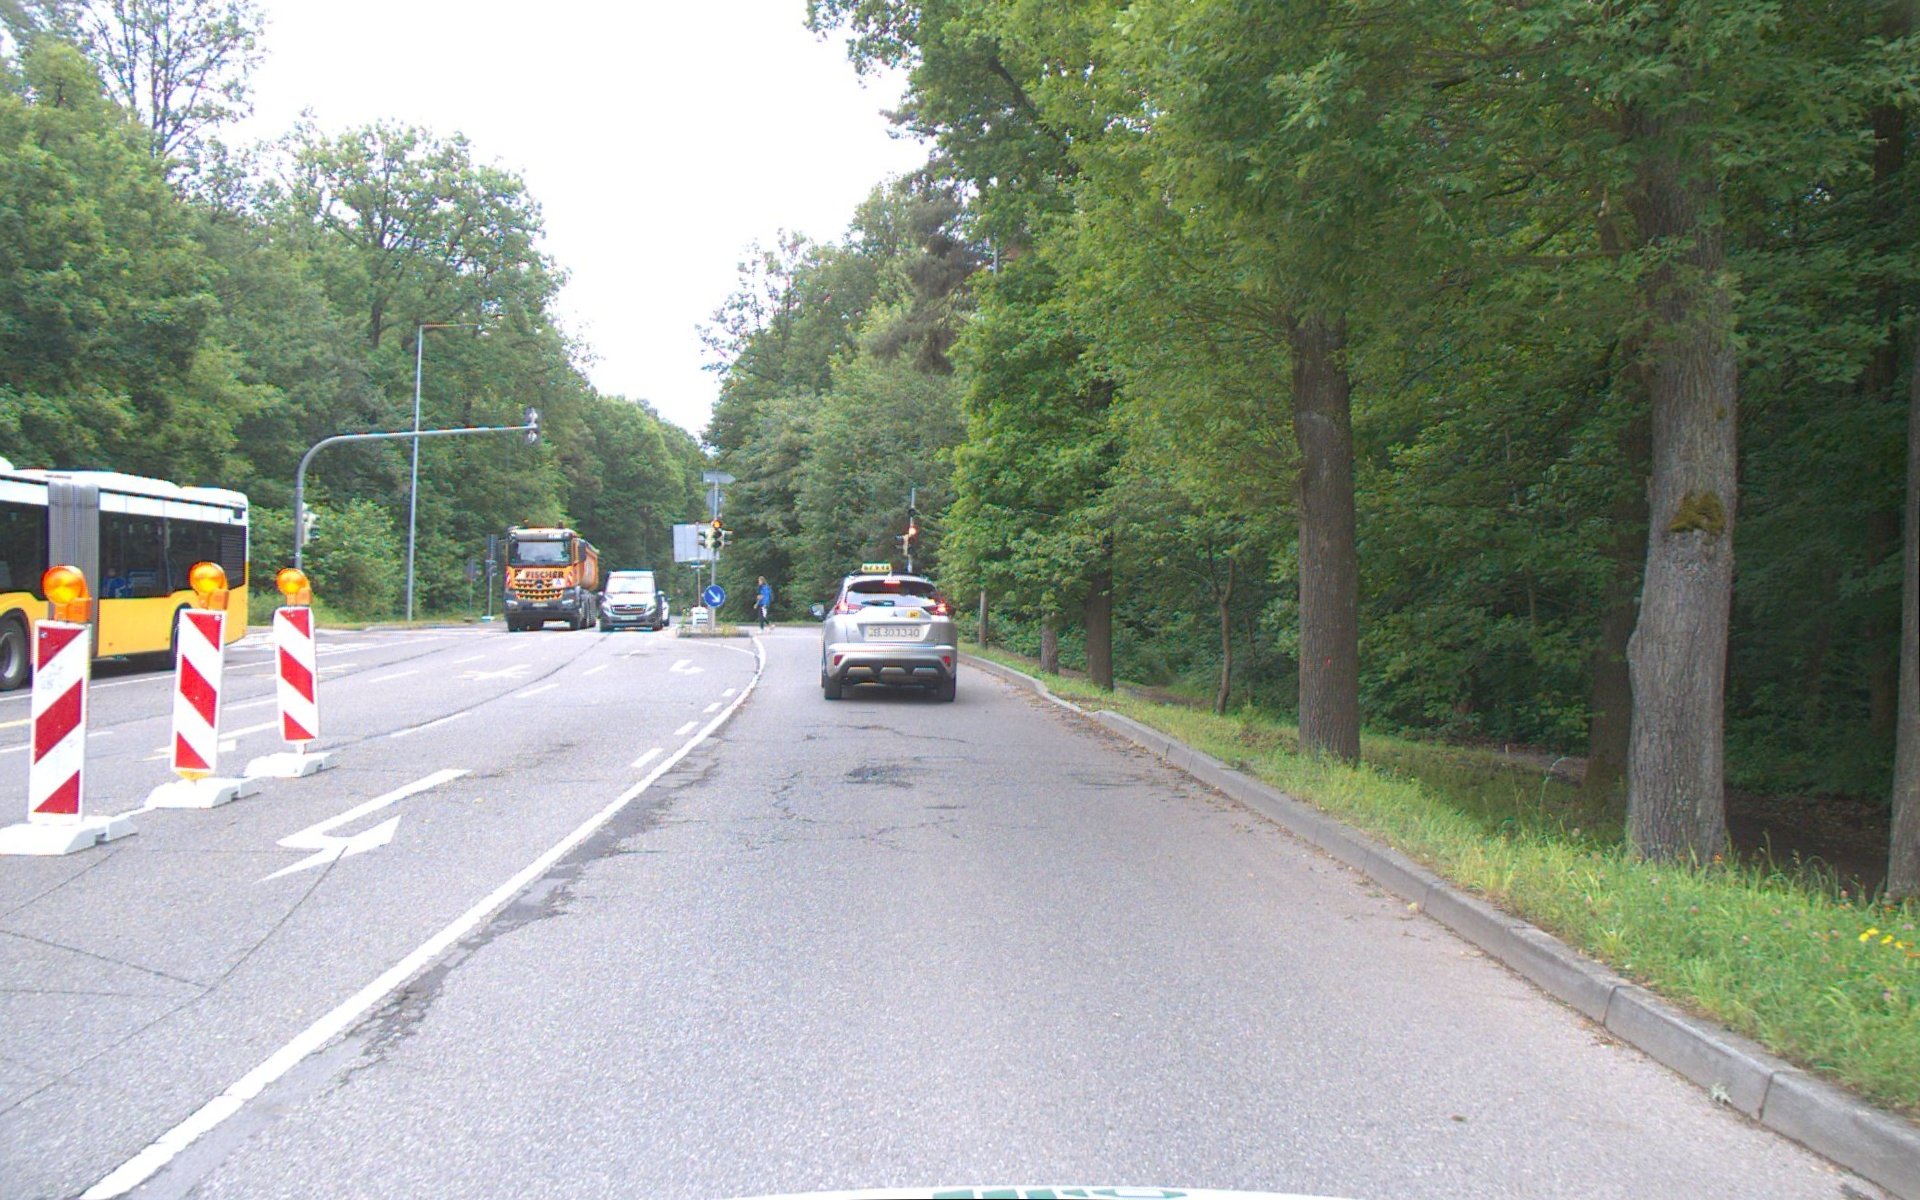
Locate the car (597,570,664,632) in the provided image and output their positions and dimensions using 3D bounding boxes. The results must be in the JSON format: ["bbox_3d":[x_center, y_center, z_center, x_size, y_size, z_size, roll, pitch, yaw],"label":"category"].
[{"bbox_3d":[-10.784,0.030,54.407,1.957,1.927,4.829,-1,0,-9],"label":"car"}]

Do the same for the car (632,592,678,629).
[{"bbox_3d":[-12.209,0.414,66.298,1.582,1.344,3.715,-2,1,-8],"label":"car"}]

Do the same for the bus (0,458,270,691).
[{"bbox_3d":[-14.232,-0.423,27.071,2.842,3.181,8.685,2,0,-5],"label":"bus"}]

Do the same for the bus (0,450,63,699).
[{"bbox_3d":[-13.433,-0.334,17.873,2.842,3.181,9.749,2,0,-5],"label":"bus"}]

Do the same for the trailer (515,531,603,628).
[{"bbox_3d":[-14.988,-0.694,62.311,2.689,3.376,8.547,0,0,-10],"label":"trailer"}]

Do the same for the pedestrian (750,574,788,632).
[{"bbox_3d":[-5.627,0.068,48.752,1.026,1.678,1.069,0,1,-2],"label":"pedestrian"}]

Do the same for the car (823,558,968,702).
[{"bbox_3d":[-0.885,0.351,23.065,1.809,1.811,3.999,1,1,-2],"label":"car"}]

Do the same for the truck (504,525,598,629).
[{"bbox_3d":[-14.126,-0.729,57.496,2.689,3.376,7.142,0,0,-10],"label":"truck"}]
